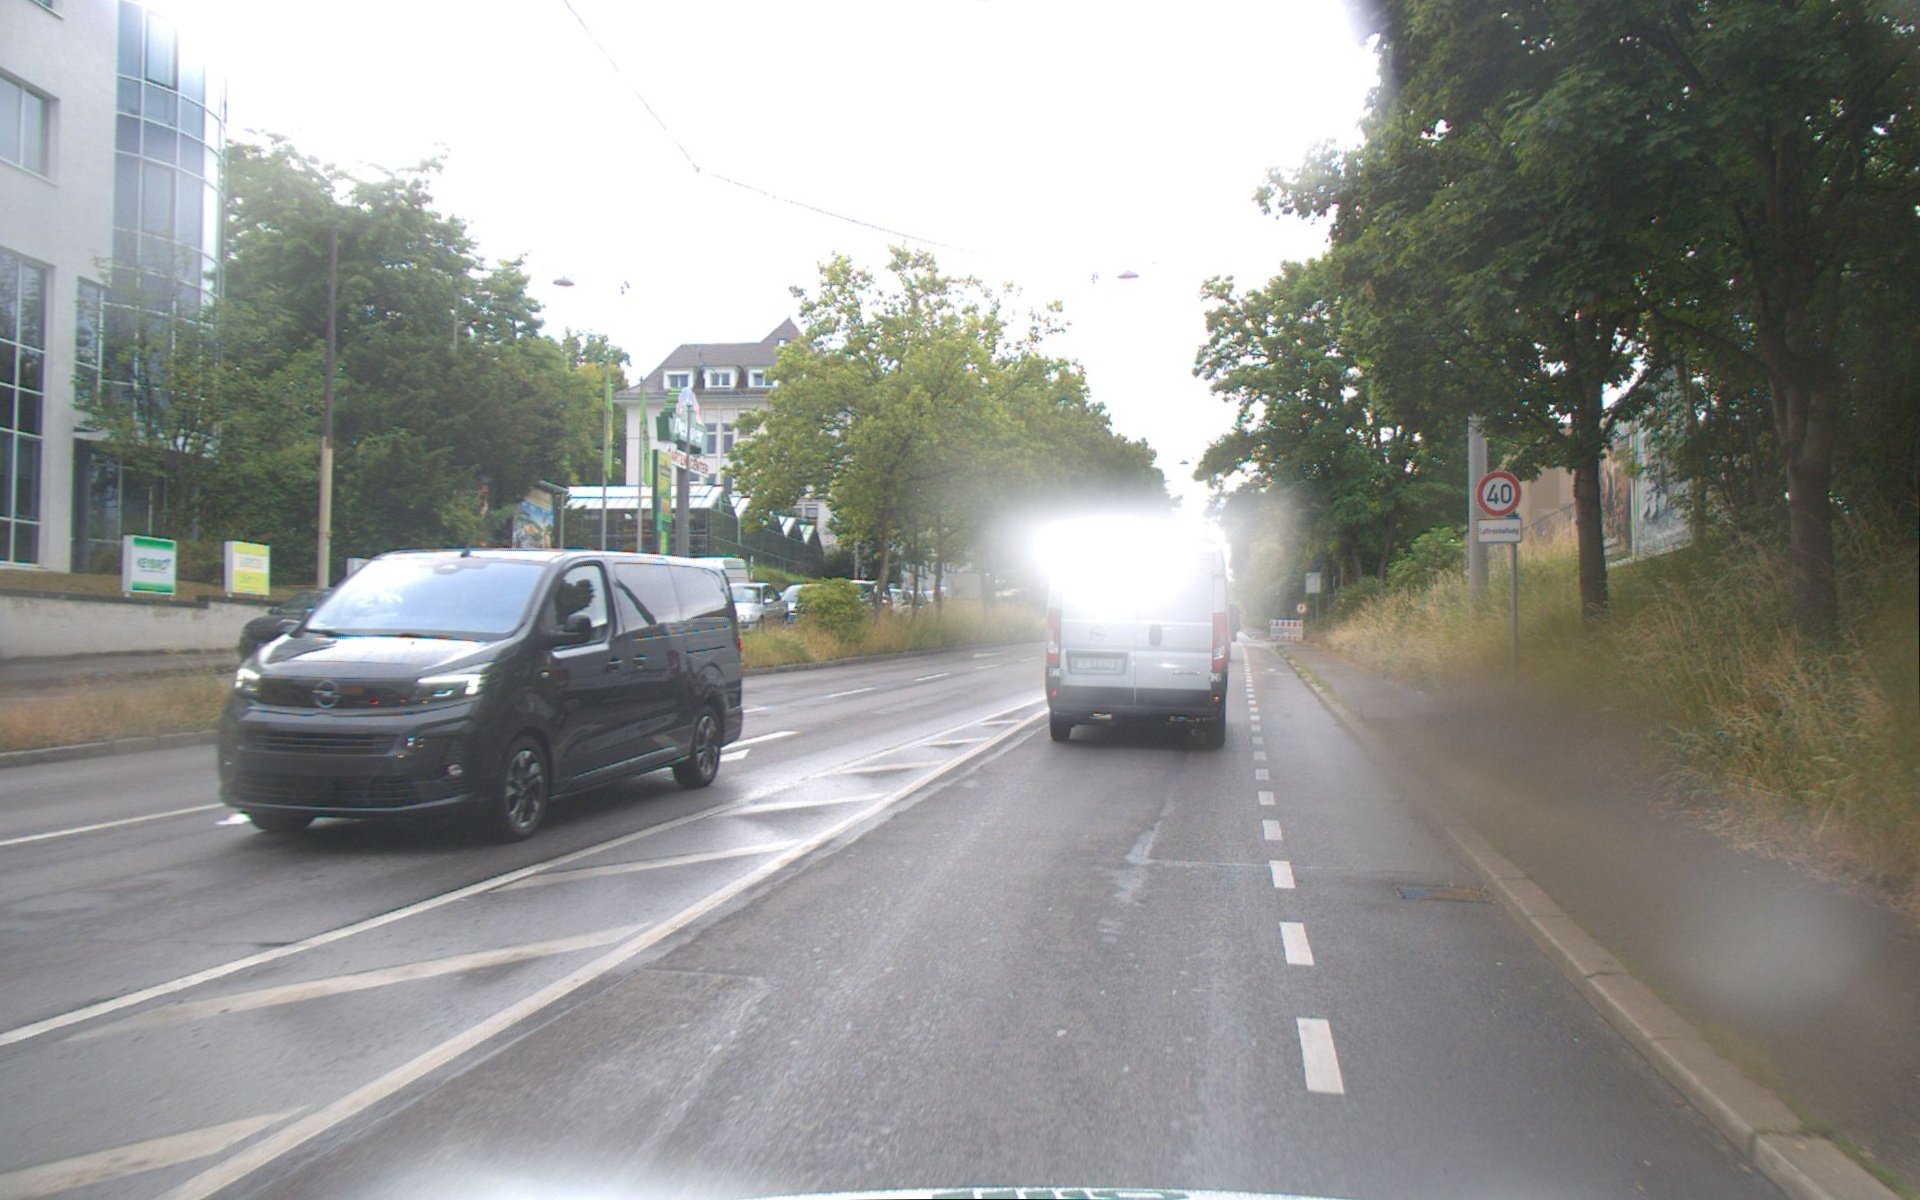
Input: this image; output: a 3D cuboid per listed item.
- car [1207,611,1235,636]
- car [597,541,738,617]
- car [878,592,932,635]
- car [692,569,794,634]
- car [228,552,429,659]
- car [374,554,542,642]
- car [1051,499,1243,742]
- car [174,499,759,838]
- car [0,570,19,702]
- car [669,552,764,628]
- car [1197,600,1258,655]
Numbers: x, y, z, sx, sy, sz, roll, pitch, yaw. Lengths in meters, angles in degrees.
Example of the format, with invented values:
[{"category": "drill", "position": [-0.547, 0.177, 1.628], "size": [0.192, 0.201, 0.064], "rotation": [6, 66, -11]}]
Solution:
[{"category": "car", "position": [13.127, 1.181, 83.103], "size": [1.315, 1.159, 2.291], "rotation": [0, -3, 11]}, {"category": "car", "position": [-6.191, -0.436, 35.511], "size": [1.612, 1.504, 4.447], "rotation": [0, 0, 9]}, {"category": "car", "position": [-1.996, 0.515, 60.750], "size": [1.331, 1.419, 3.710], "rotation": [0, -3, 8]}, {"category": "car", "position": [-5.437, 0.024, 41.965], "size": [1.558, 1.567, 3.995], "rotation": [0, 0, 8]}, {"category": "car", "position": [-11.009, 0.085, 29.121], "size": [1.576, 1.752, 3.997], "rotation": [0, 0, 8]}, {"category": "car", "position": [-10.793, -0.054, 35.929], "size": [1.733, 1.776, 4.587], "rotation": [0, 0, 8]}, {"category": "car", "position": [2.323, 0.213, 20.223], "size": [2.006, 2.560, 4.947], "rotation": [1, 0, 8]}, {"category": "car", "position": [-3.152, 0.416, 11.936], "size": [1.971, 1.899, 5.045], "rotation": [0, -1, 10]}, {"category": "car", "position": [-12.467, 0.440, 17.709], "size": [1.652, 1.561, 4.676], "rotation": [0, 0, 8]}, {"category": "car", "position": [-8.348, -0.339, 57.175], "size": [1.921, 2.486, 5.659], "rotation": [0, 0, 5]}, {"category": "car", "position": [7.753, 0.815, 47.792], "size": [1.657, 1.451, 3.370], "rotation": [1, -3, 10]}]
